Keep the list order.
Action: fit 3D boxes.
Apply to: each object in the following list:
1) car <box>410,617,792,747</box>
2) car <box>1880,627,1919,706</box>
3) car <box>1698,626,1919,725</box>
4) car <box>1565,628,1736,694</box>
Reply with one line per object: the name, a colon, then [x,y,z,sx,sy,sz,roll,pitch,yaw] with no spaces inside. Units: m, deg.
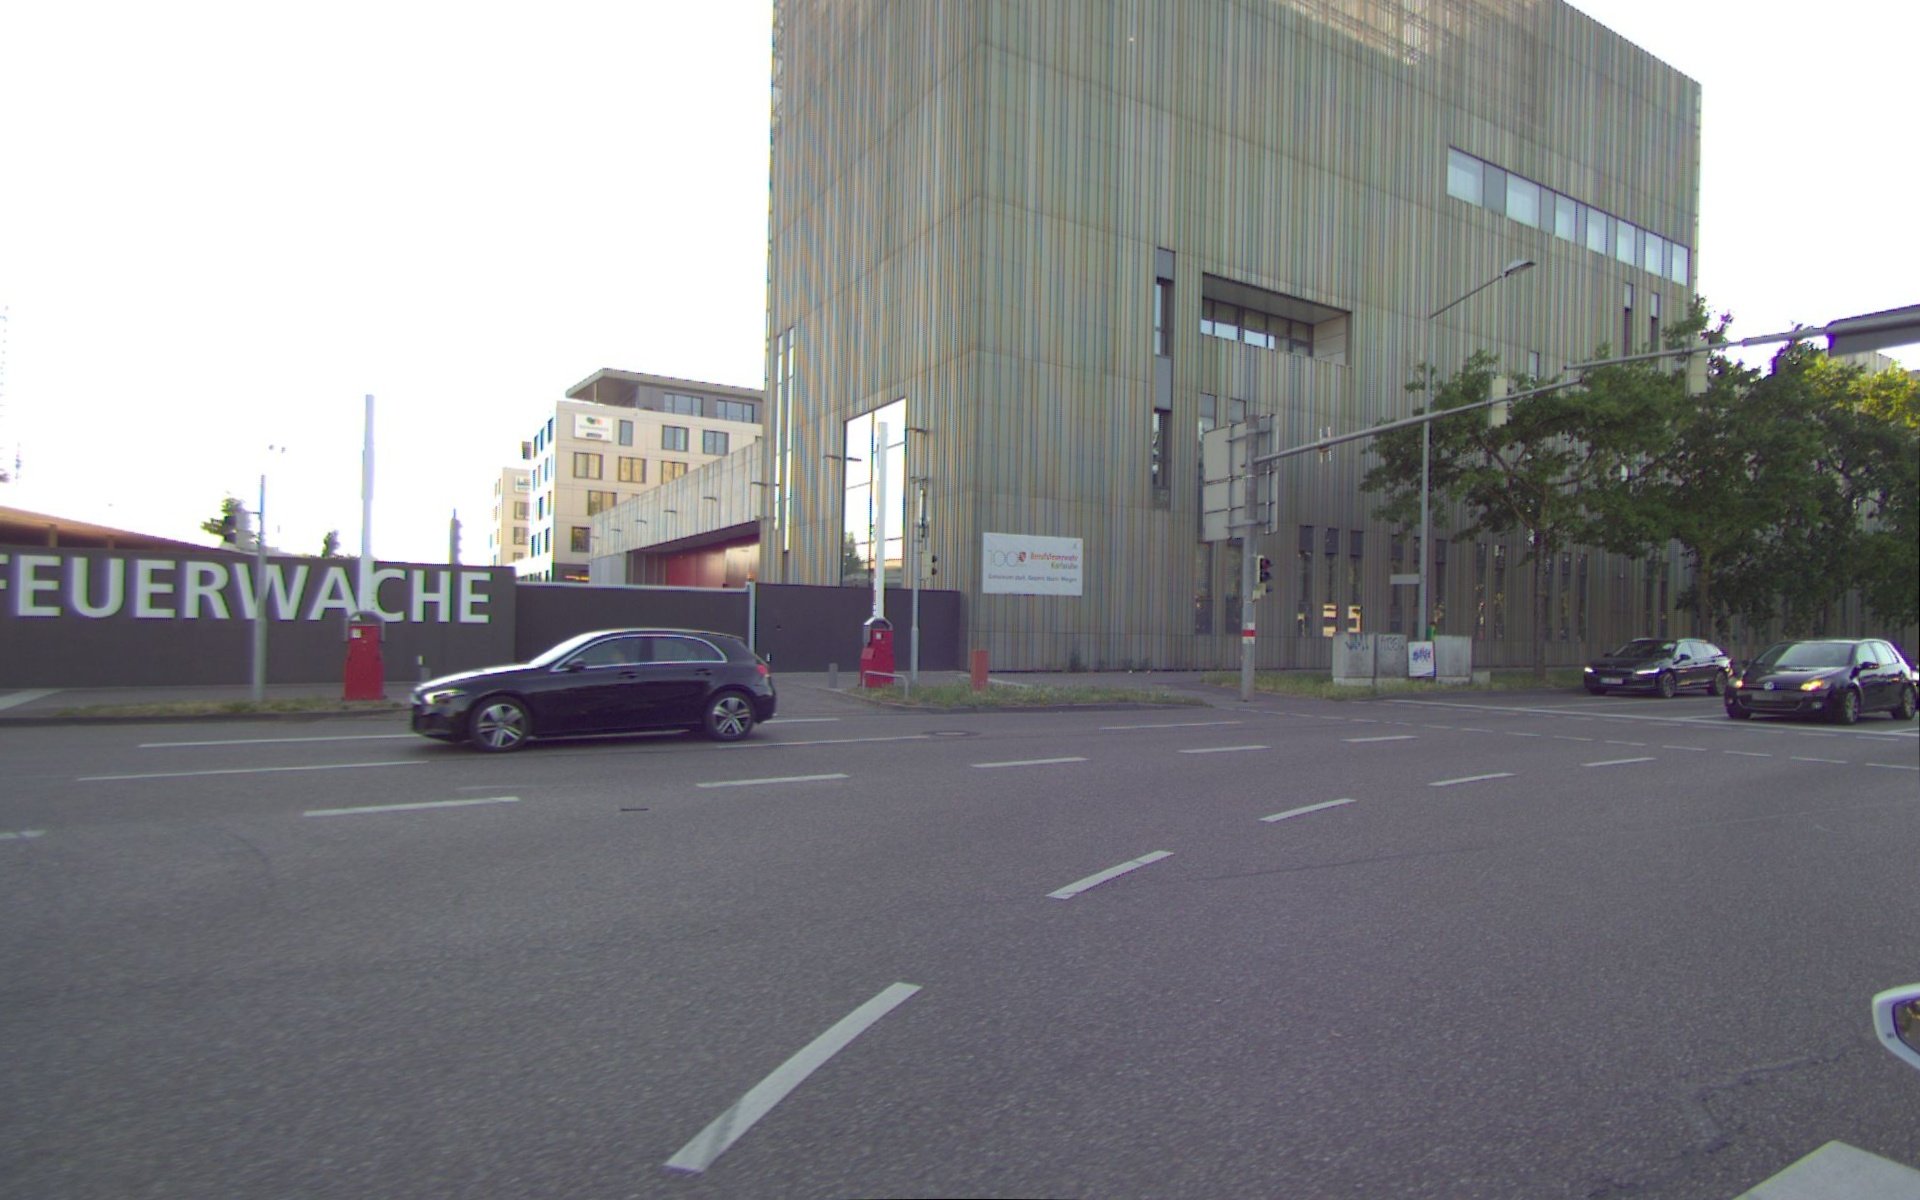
car: [-4.558,1.047,12.930,4.301,1.418,1.984,3,-5,-32]
car: [21.973,1.452,21.608,4.663,1.612,1.984,3,-5,-32]
car: [15.505,1.338,18.243,4.035,1.495,1.983,3,0,-32]
car: [18.185,1.639,26.413,4.663,1.612,1.984,3,-5,-32]
